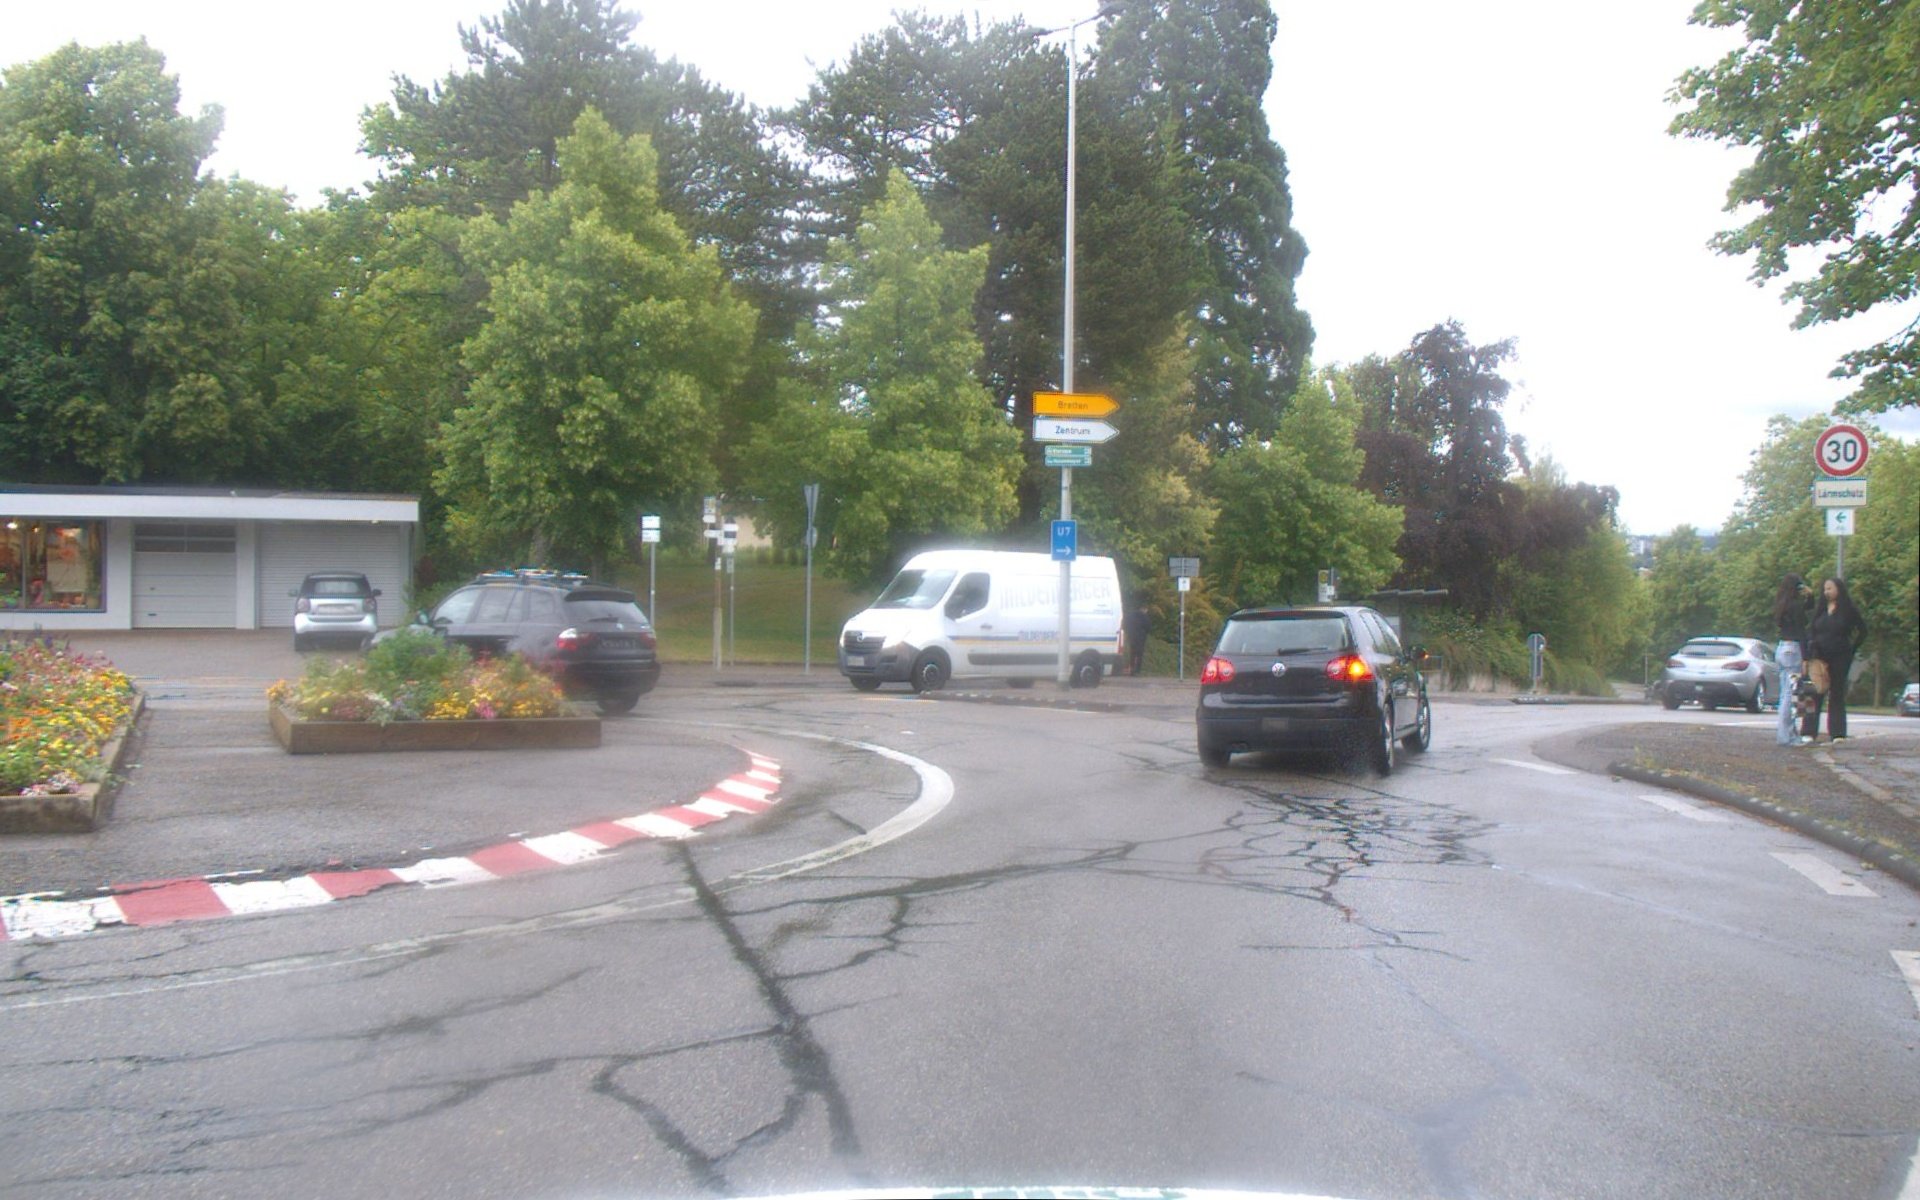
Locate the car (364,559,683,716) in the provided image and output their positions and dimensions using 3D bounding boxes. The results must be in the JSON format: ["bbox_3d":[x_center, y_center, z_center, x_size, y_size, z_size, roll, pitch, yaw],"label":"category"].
[{"bbox_3d":[-5.663,0.448,21.260,4.162,1.833,1.764,-1,0,37],"label":"car"}]

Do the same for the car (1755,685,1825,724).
[{"bbox_3d":[35.452,4.424,70.606,1.878,1.417,4.495,1,0,38],"label":"car"}]

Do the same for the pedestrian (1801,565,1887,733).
[{"bbox_3d":[9.385,0.512,17.569,0.620,1.743,0.530,1,-1,5],"label":"pedestrian"}]

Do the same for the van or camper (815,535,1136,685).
[{"bbox_3d":[0.374,0.221,29.279,5.615,2.419,2.169,2,-1,-40],"label":"van or camper"}]

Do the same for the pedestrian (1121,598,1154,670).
[{"bbox_3d":[4.417,0.841,41.011,0.722,1.755,0.817,1,-1,10],"label":"pedestrian"}]

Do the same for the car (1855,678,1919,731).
[{"bbox_3d":[37.128,4.071,64.886,2.022,1.871,4.001,0,0,2],"label":"car"}]

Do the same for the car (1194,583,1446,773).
[{"bbox_3d":[3.575,0.625,15.909,1.729,1.565,4.000,0,1,22],"label":"car"}]

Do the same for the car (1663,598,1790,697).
[{"bbox_3d":[15.611,0.898,33.572,1.733,1.833,4.234,-1,0,33],"label":"car"}]

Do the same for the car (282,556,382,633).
[{"bbox_3d":[-13.271,-0.145,35.114,1.784,1.512,3.811,-1,1,-18],"label":"car"}]

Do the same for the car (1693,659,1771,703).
[{"bbox_3d":[27.920,2.950,59.748,1.875,1.417,4.501,2,-2,33],"label":"car"}]

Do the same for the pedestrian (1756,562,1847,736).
[{"bbox_3d":[8.647,0.499,17.003,0.521,1.743,0.631,2,-1,-26],"label":"pedestrian"}]
